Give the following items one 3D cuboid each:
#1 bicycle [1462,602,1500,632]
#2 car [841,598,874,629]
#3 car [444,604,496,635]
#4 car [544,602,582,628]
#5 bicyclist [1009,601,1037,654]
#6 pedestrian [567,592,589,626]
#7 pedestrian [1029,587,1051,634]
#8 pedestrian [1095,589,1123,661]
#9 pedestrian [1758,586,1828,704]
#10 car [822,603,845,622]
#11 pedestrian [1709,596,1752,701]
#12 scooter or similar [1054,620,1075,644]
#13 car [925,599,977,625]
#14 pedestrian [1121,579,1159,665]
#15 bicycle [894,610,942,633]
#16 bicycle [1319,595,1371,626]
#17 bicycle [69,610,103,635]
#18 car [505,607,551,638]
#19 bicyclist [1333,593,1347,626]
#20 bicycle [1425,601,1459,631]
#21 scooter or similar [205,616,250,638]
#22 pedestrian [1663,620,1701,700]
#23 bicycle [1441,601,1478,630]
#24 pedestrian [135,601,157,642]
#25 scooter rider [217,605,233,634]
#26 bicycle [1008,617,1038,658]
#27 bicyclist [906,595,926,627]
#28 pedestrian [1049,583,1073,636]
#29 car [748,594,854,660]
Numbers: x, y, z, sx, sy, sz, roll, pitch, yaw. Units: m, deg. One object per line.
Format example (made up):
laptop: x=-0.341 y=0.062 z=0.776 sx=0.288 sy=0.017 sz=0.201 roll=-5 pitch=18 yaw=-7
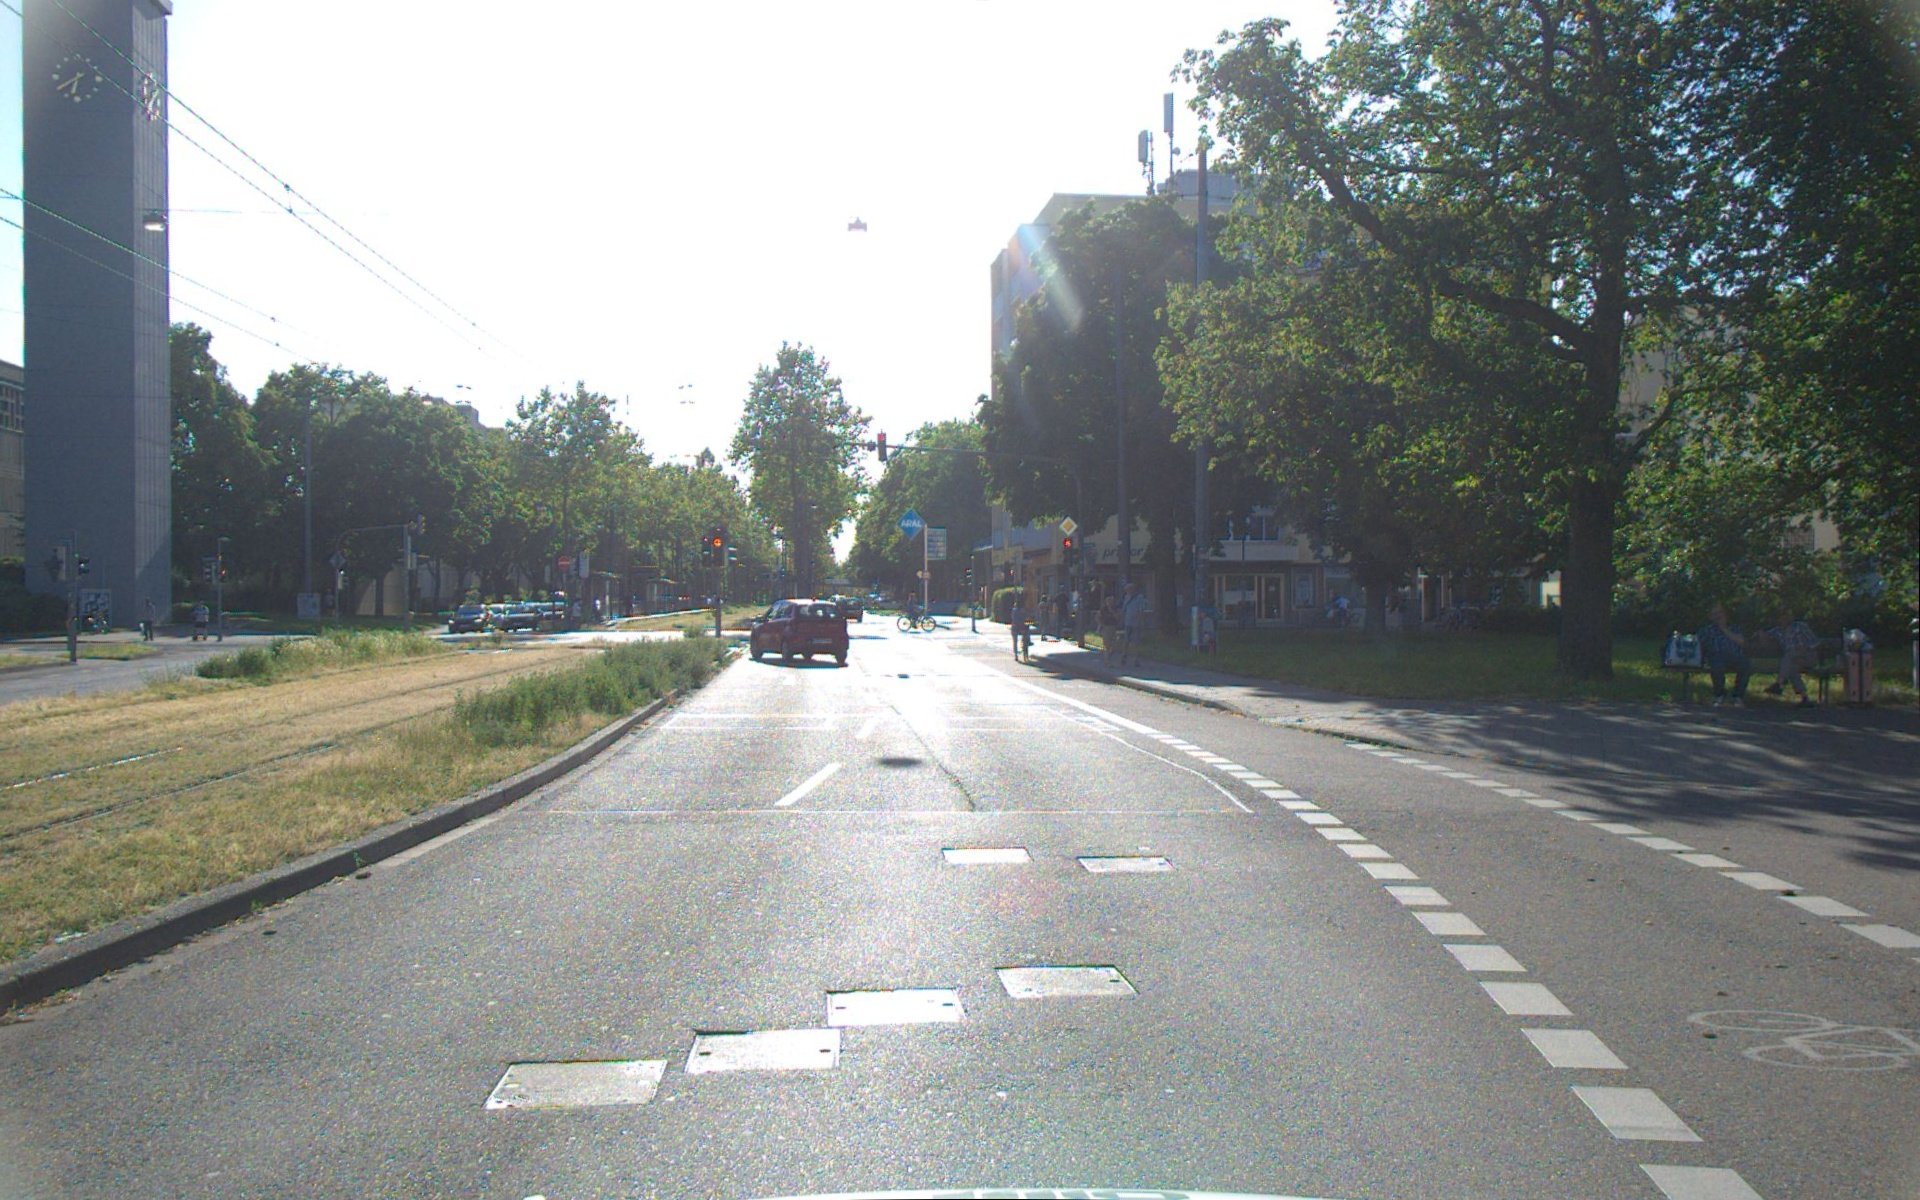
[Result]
bicycle: x=18.985 y=0.608 z=60.307 sx=0.585 sy=1.053 sz=1.988 roll=2 pitch=0 yaw=-5
car: x=-6.779 y=0.878 z=109.250 sx=1.931 sy=1.892 sz=3.994 roll=2 pitch=0 yaw=-6
car: x=-25.727 y=1.015 z=86.924 sx=1.771 sy=1.560 sz=4.356 roll=-1 pitch=0 yaw=-5
car: x=-23.221 y=0.882 z=96.879 sx=1.535 sy=1.426 sz=3.911 roll=2 pitch=0 yaw=-5
bicyclist: x=1.643 y=0.702 z=43.116 sx=0.625 sy=1.346 sz=0.802 roll=2 pitch=-1 yaw=-3
pedestrian: x=-18.573 y=0.443 z=80.430 sx=0.873 sy=1.634 sz=0.613 roll=2 pitch=-1 yaw=-5
pedestrian: x=2.680 y=0.364 z=55.443 sx=0.633 sy=1.549 sz=0.496 roll=2 pitch=-1 yaw=7
pedestrian: x=3.274 y=0.542 z=36.360 sx=0.518 sy=1.555 sz=0.627 roll=-2 pitch=-1 yaw=1
pedestrian: x=10.254 y=0.544 z=20.374 sx=0.671 sy=1.397 sz=0.755 roll=2 pitch=-1 yaw=22
car: x=-11.333 y=1.126 z=147.976 sx=1.857 sy=1.639 sz=4.494 roll=2 pitch=0 yaw=-6
pedestrian: x=9.460 y=0.591 z=20.324 sx=0.395 sy=1.247 sz=0.761 roll=2 pitch=-1 yaw=22
scooter or similar: x=3.471 y=1.058 z=54.822 sx=0.586 sy=0.750 sz=0.680 roll=2 pitch=0 yaw=-5
car: x=-0.725 y=0.954 z=131.663 sx=3.903 sy=1.892 sz=2.013 roll=2 pitch=0 yaw=4
pedestrian: x=3.946 y=0.468 z=36.260 sx=0.688 sy=1.821 sz=0.694 roll=-3 pitch=1 yaw=1
bicycle: x=-2.047 y=1.041 z=79.960 sx=2.203 sy=1.004 sz=0.790 roll=0 pitch=5 yaw=10
bicycle: x=18.917 y=0.530 z=81.288 sx=2.422 sy=1.424 sz=0.607 roll=2 pitch=-1 yaw=-6
bicycle: x=-37.973 y=0.985 z=71.855 sx=0.480 sy=1.064 sz=1.684 roll=2 pitch=0 yaw=3
car: x=-22.839 y=1.172 z=87.565 sx=1.654 sy=1.560 sz=4.356 roll=0 pitch=0 yaw=-5
bicyclist: x=18.510 y=0.479 z=80.577 sx=0.517 sy=1.594 sz=0.463 roll=2 pitch=-1 yaw=-7
bicycle: x=17.669 y=0.578 z=60.668 sx=0.585 sy=1.053 sz=1.794 roll=2 pitch=0 yaw=-5
scooter or similar: x=-31.004 y=1.149 z=69.998 sx=1.709 sy=0.915 sz=0.560 roll=0 pitch=0 yaw=-21
pedestrian: x=8.995 y=0.737 z=20.613 sx=0.395 sy=0.950 sz=0.623 roll=2 pitch=2 yaw=22
bicycle: x=18.315 y=0.557 z=60.705 sx=0.585 sy=1.053 sz=2.005 roll=2 pitch=0 yaw=-5
pedestrian: x=-33.705 y=0.890 z=68.518 sx=0.433 sy=1.695 sz=0.746 roll=2 pitch=-1 yaw=5
scooter rider: x=-31.081 y=0.823 z=69.972 sx=0.518 sy=1.239 sz=0.584 roll=2 pitch=-1 yaw=-20
bicycle: x=1.629 y=0.962 z=42.933 sx=0.635 sy=0.990 sz=1.803 roll=2 pitch=0 yaw=-2
bicyclist: x=-2.122 y=0.512 z=79.954 sx=0.752 sy=1.496 sz=0.899 roll=-1 pitch=1 yaw=12
pedestrian: x=3.379 y=0.319 z=55.446 sx=0.714 sy=1.711 sz=0.533 roll=2 pitch=-1 yaw=7
car: x=-4.006 y=0.645 z=41.280 sx=1.670 sy=1.535 sz=3.675 roll=2 pitch=0 yaw=-22
